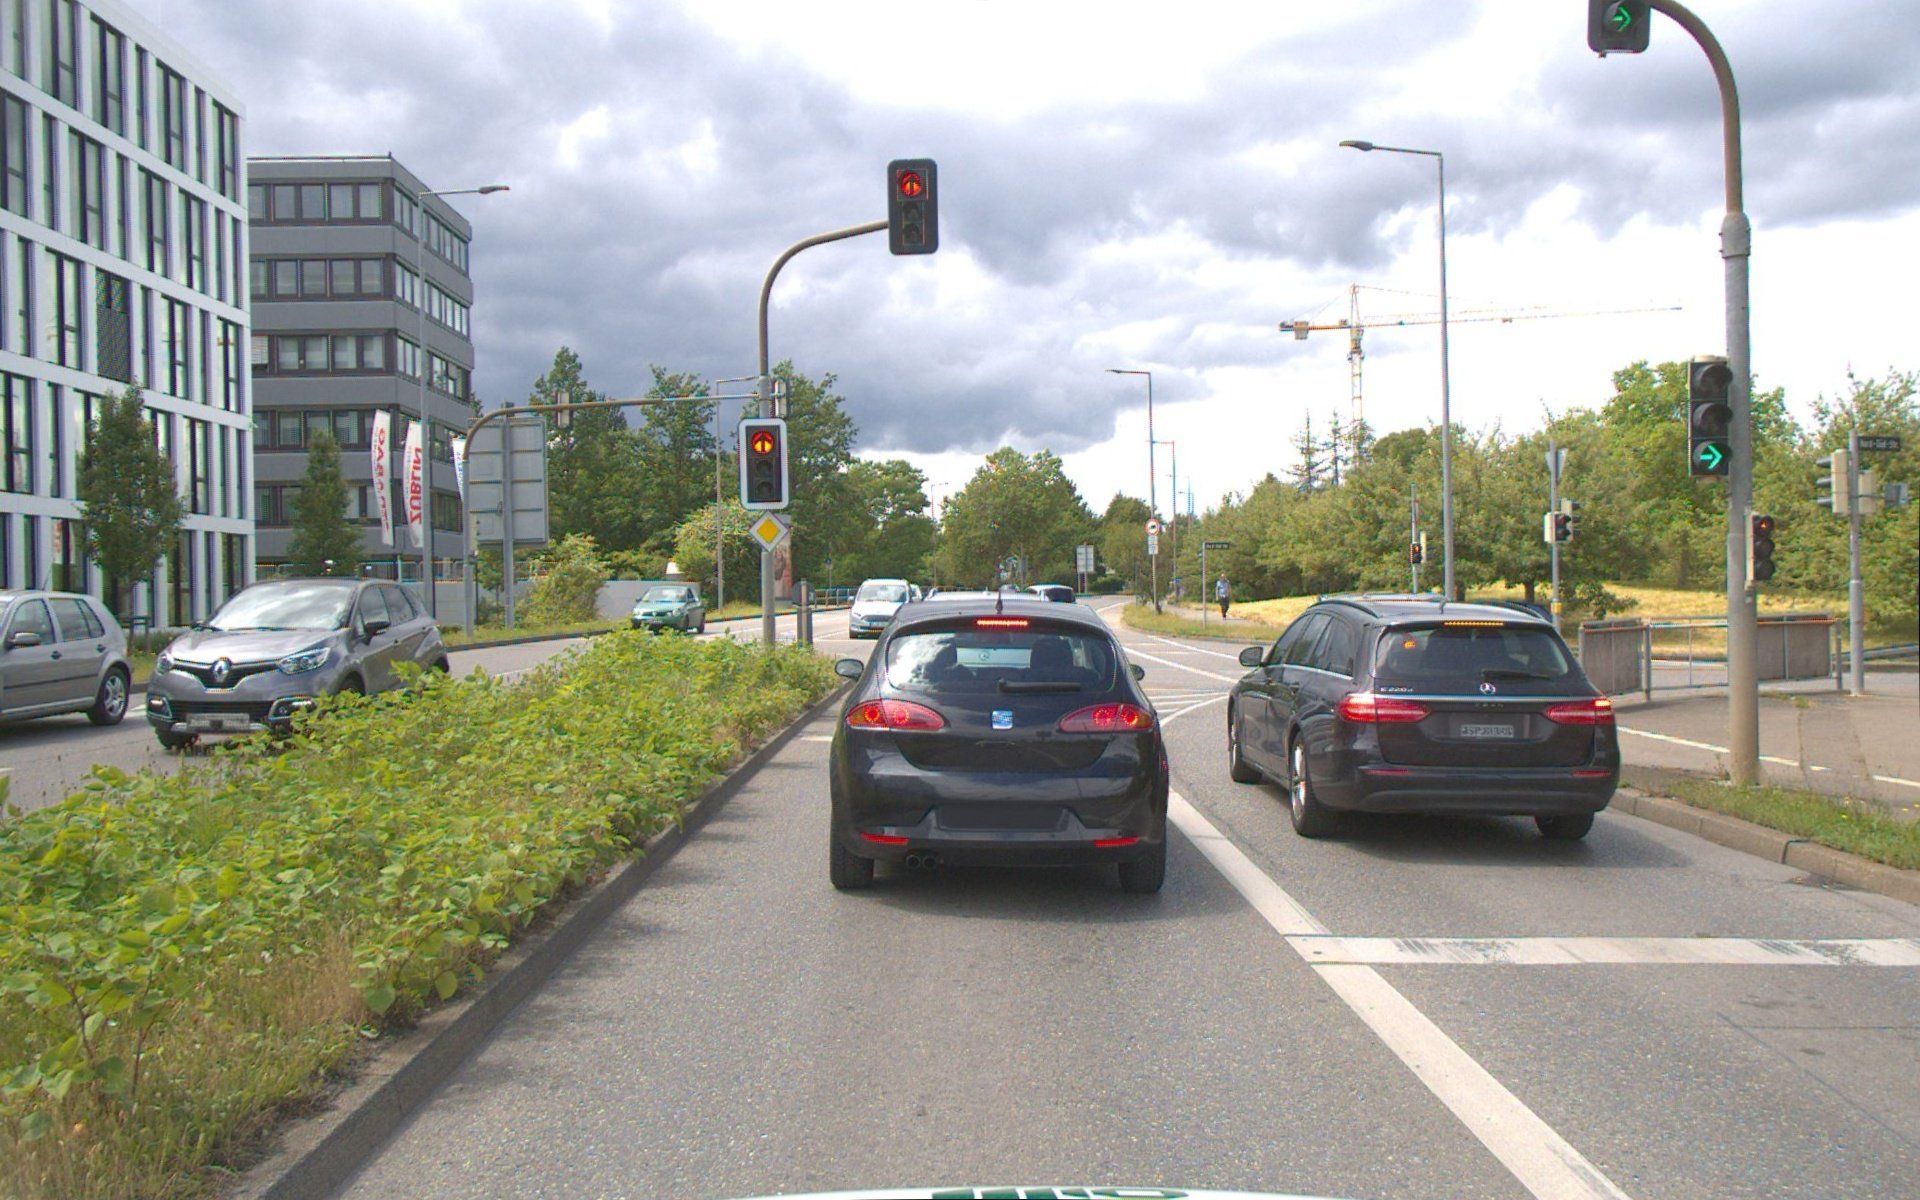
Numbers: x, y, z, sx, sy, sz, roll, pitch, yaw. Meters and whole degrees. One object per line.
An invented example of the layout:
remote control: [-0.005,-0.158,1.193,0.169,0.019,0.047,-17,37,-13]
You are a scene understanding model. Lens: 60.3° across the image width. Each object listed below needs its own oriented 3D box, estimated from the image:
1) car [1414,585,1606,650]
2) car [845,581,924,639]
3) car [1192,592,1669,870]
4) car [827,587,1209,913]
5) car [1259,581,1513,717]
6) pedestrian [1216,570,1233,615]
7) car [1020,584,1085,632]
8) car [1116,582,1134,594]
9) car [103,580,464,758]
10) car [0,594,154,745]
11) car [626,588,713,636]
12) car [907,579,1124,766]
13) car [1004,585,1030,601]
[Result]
car: [13.781,0.428,41.629,4.213,1.552,2.001,-1,0,5]
car: [-2.182,0.269,48.697,1.952,1.624,4.001,0,1,2]
car: [2.969,0.708,11.748,1.834,1.466,5.199,-1,1,-1]
car: [0.245,0.674,9.360,1.737,1.477,3.582,0,1,-1]
car: [5.703,0.566,21.752,1.830,1.545,4.432,-1,1,34]
pedestrian: [10.424,-0.301,65.129,0.547,1.756,0.588,0,0,0]
car: [3.073,0.238,55.527,1.952,1.557,4.000,0,1,0]
car: [18.432,-1.362,184.723,1.951,1.375,4.003,0,1,7]
car: [-6.521,0.584,16.486,1.895,1.543,4.001,0,1,1]
car: [-9.885,0.650,16.313,1.953,1.378,3.999,0,1,-1]
car: [-8.729,0.340,49.951,1.953,1.375,4.000,0,1,-1]
car: [0.409,0.588,15.627,1.738,1.517,3.580,-1,1,-3]
car: [5.099,-0.615,148.179,1.951,1.375,4.003,0,1,7]
